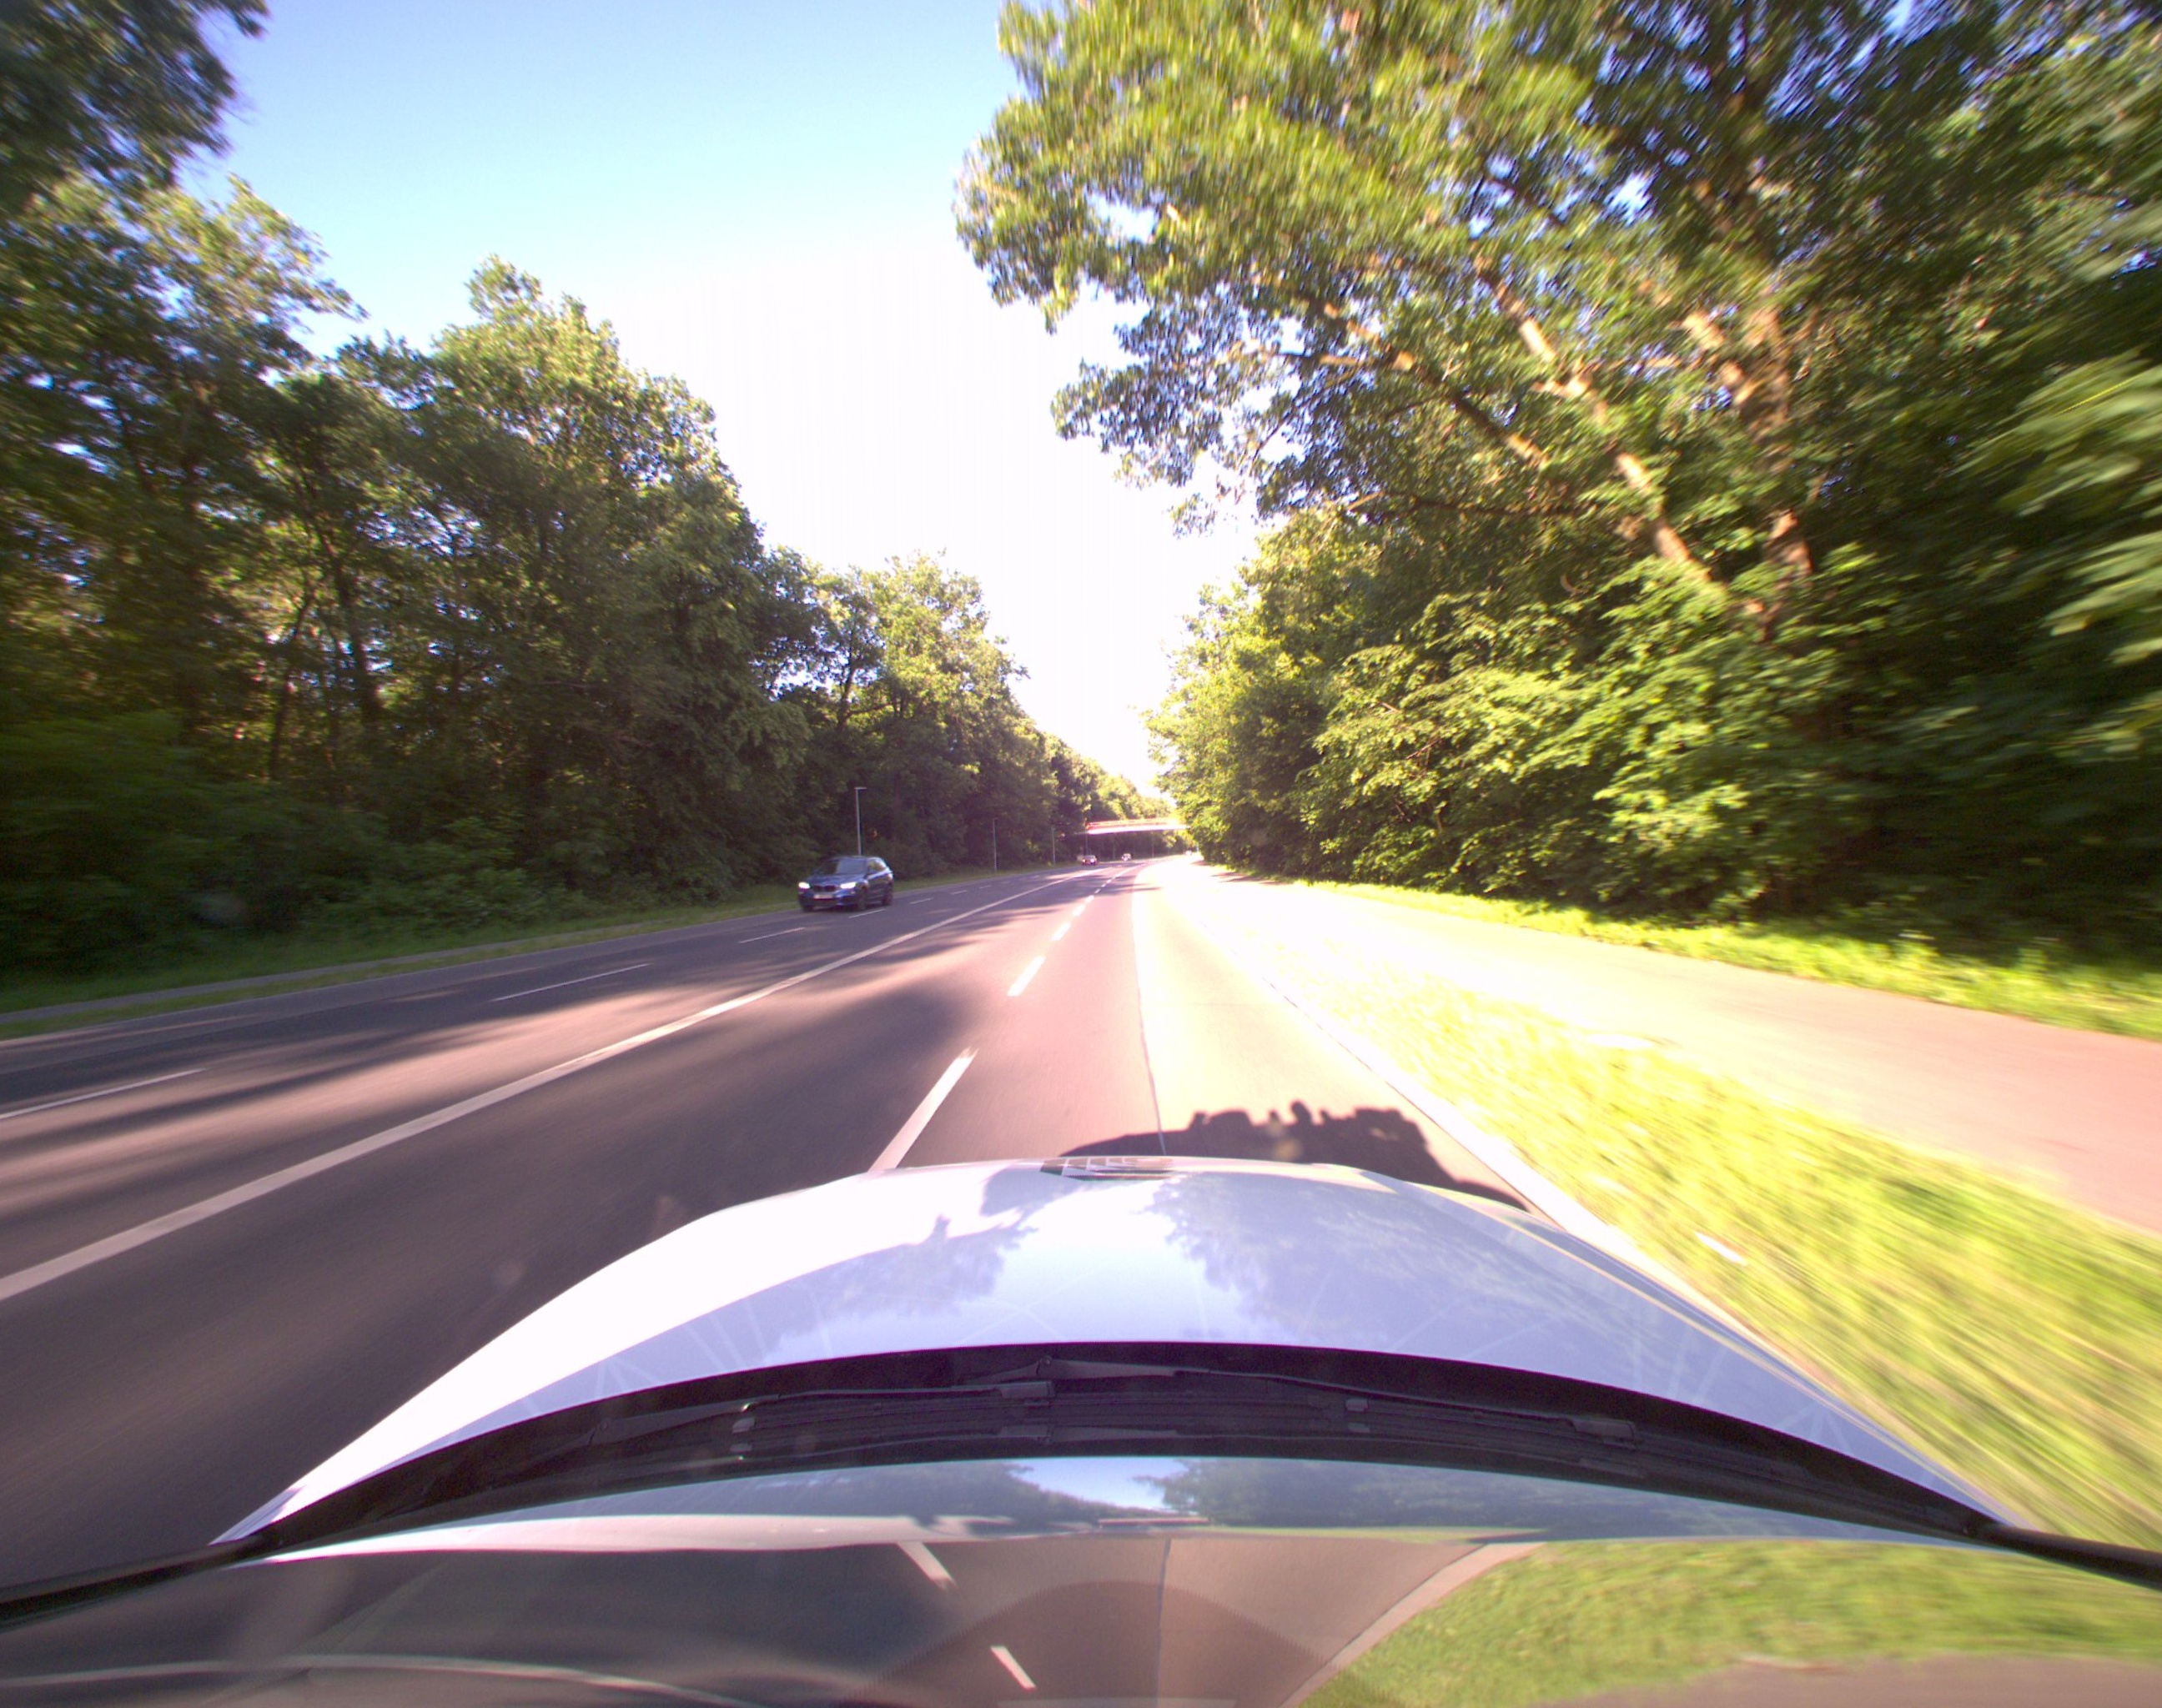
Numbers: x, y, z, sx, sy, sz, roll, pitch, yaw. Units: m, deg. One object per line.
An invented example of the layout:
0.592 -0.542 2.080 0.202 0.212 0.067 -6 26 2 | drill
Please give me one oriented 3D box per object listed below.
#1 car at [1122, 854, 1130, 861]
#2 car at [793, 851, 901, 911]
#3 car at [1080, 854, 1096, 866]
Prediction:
9.009 0.658 163.234 1.488 1.444 3.505 -2 0 5 | car
-7.138 0.755 25.363 1.800 1.663 4.525 -1 0 3 | car
0.960 0.812 111.020 1.701 1.423 4.138 -2 0 6 | car
